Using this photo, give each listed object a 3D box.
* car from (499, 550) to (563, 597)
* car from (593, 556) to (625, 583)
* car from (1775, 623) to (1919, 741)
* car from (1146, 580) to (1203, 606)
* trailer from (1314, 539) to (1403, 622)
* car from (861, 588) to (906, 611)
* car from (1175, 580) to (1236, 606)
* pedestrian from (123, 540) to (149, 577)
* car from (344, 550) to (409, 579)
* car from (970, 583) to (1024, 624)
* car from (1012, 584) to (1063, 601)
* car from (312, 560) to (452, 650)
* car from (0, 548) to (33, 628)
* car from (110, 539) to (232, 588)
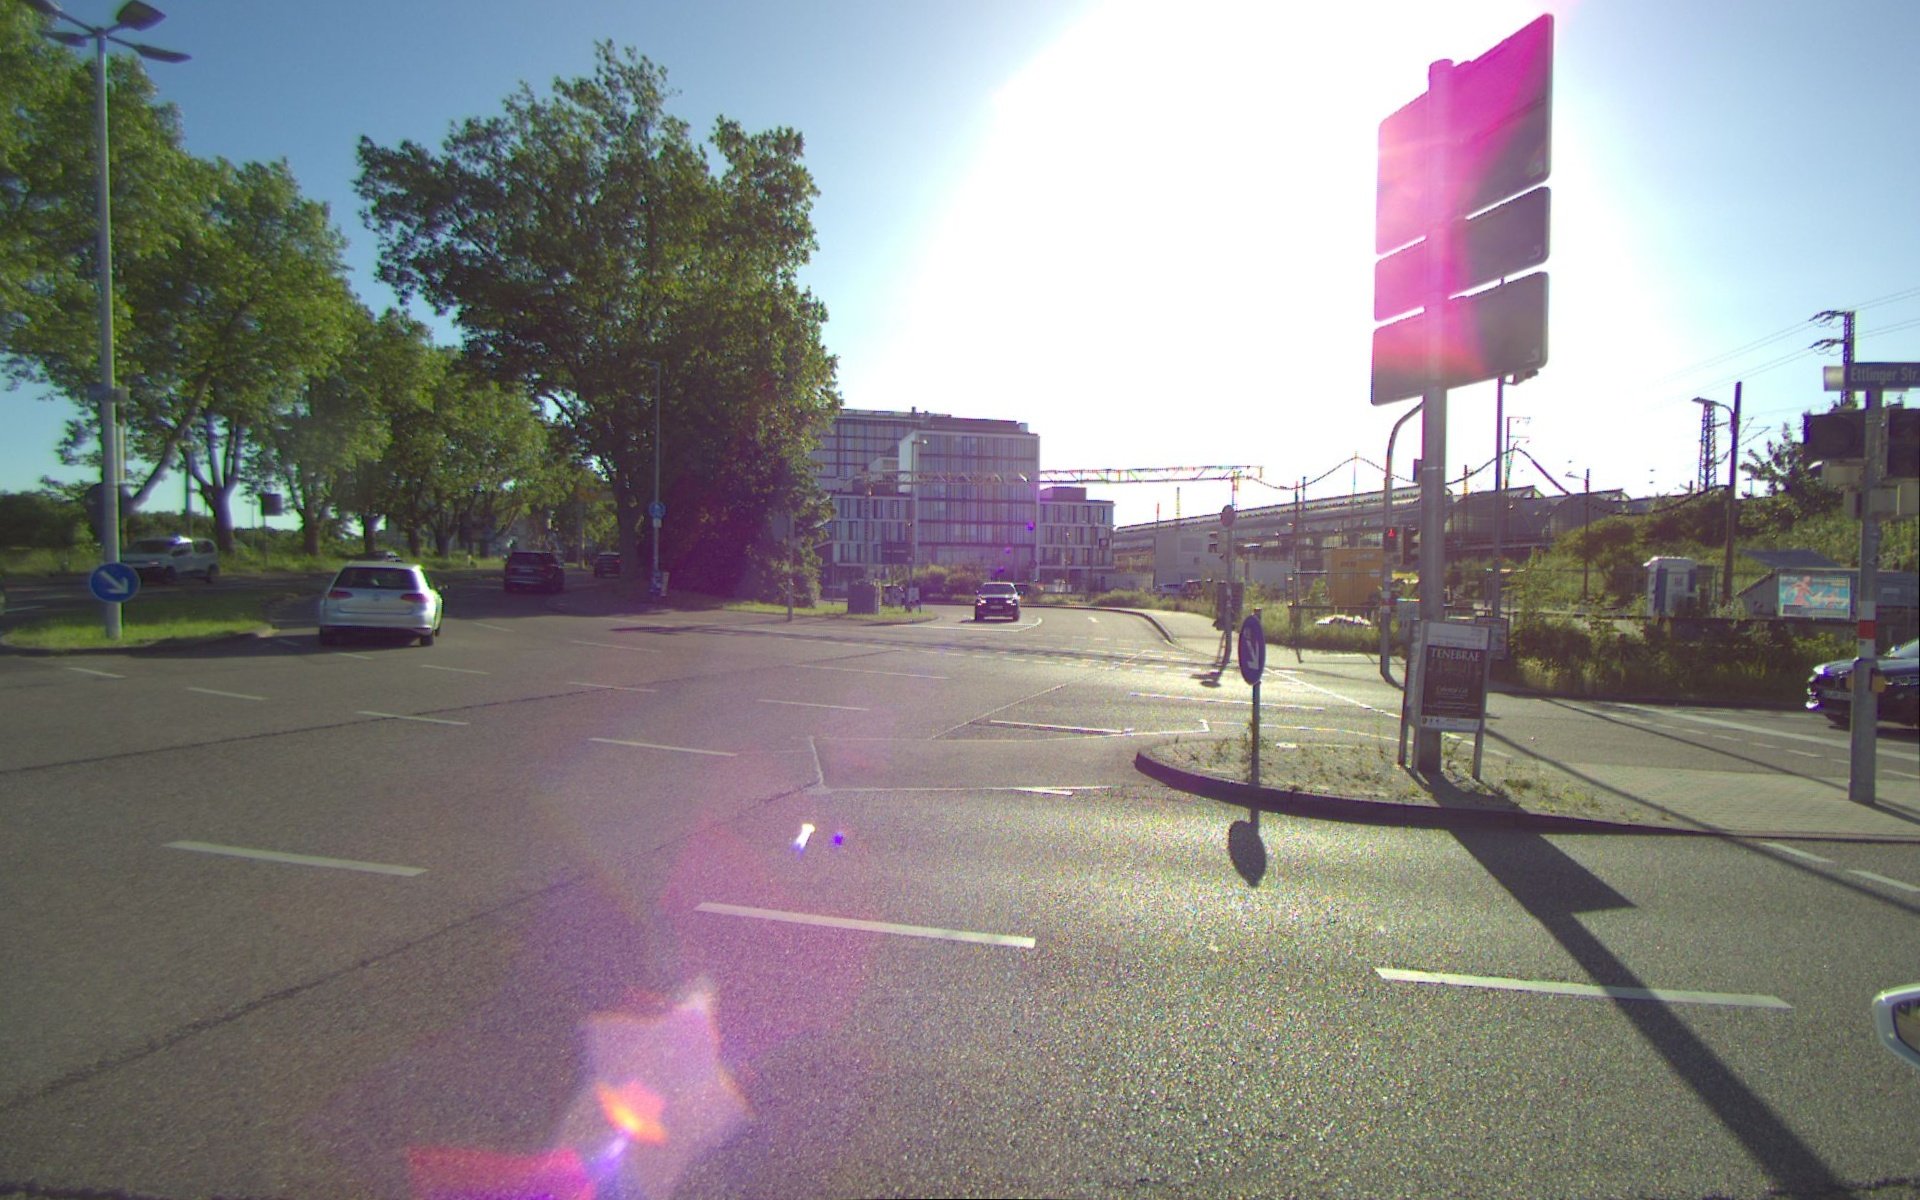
[{"bbox_3d":[-18.581,-1.150,43.727,2.086,1.913,4.793,1,1,-18],"label":"car"},{"bbox_3d":[-23.599,-2.065,67.636,1.918,1.736,4.183,1,2,-18],"label":"car"},{"bbox_3d":[14.908,1.203,14.728,4.301,1.538,1.956,2,0,0],"label":"car"},{"bbox_3d":[16.375,-0.540,76.778,3.924,1.812,1.654,2,1,-5],"label":"car"},{"bbox_3d":[17.688,-0.840,44.979,2.945,3.336,6.669,2,1,16],"label":"trailer"},{"bbox_3d":[-5.434,-0.058,71.180,1.732,1.496,3.970,0,2,-28],"label":"car"},{"bbox_3d":[17.805,-0.513,72.985,3.924,1.728,1.614,2,1,-5],"label":"car"},{"bbox_3d":[-36.713,-1.850,44.776,0.654,1.607,0.630,1,2,-11],"label":"pedestrian"},{"bbox_3d":[-34.470,-2.093,59.446,1.826,1.620,4.318,1,1,-8],"label":"car"},{"bbox_3d":[1.560,0.102,41.000,1.718,1.496,4.002,1,1,9],"label":"car"},{"bbox_3d":[9.055,-0.884,117.519,5.633,1.870,1.909,1,2,-19],"label":"car"},{"bbox_3d":[-10.522,0.086,18.551,1.951,1.446,3.910,2,0,-26],"label":"car"},{"bbox_3d":[-18.310,-0.247,17.938,1.888,1.446,3.901,1,1,-32],"label":"car"},{"bbox_3d":[-30.546,-1.386,39.072,1.825,1.767,4.259,1,1,-8],"label":"car"}]
